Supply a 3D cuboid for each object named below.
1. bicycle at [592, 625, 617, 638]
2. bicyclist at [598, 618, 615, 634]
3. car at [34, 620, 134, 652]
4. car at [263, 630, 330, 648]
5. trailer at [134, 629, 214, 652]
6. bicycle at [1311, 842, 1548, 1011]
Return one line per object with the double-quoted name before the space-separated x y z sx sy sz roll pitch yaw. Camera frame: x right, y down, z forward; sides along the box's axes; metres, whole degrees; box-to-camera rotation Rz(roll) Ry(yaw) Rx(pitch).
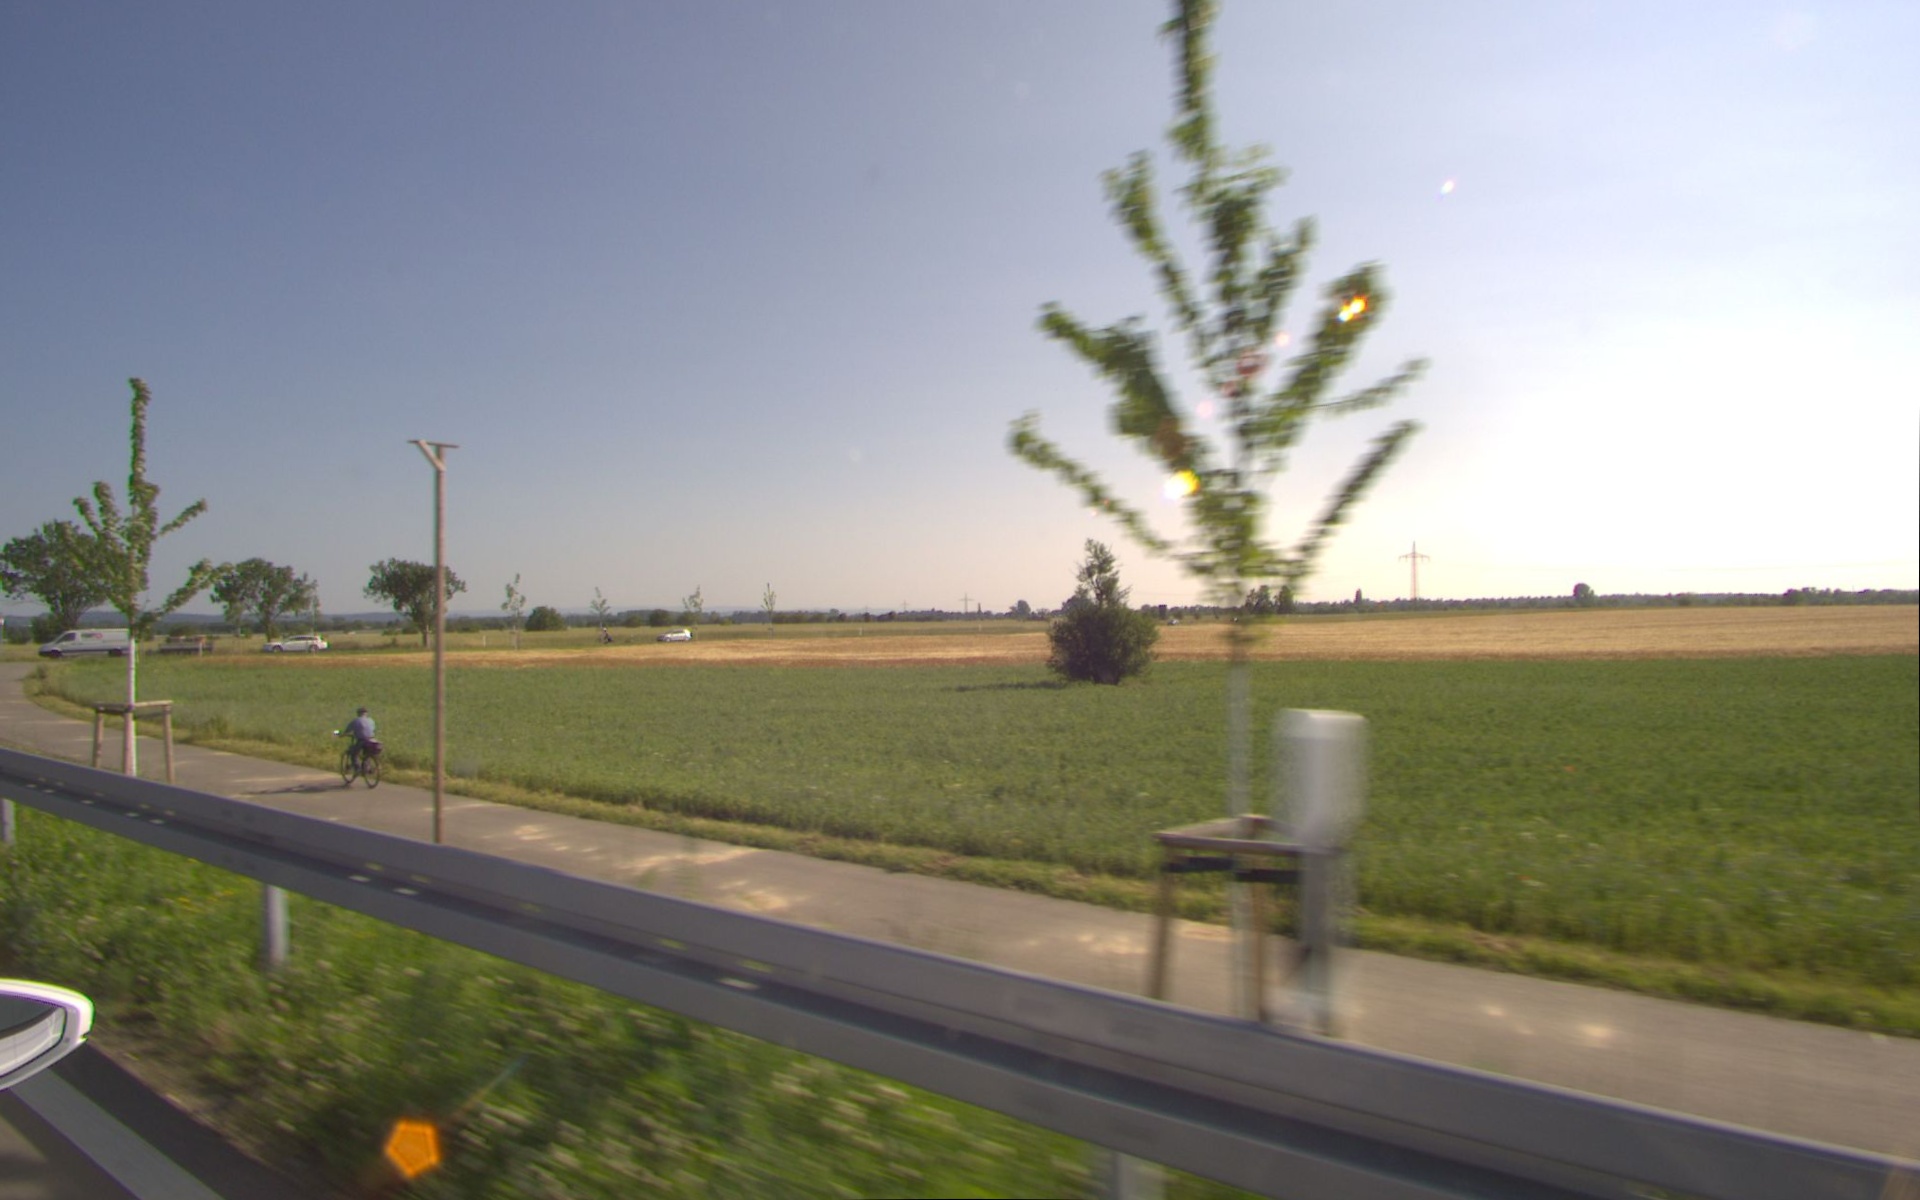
"bicycle" -35.465 3.156 99.952 2.140 1.201 0.882 1 -3 -41
"bicyclist" -35.348 2.579 100.007 1.269 1.622 1.155 1 -1 -41
"car" -70.383 2.922 80.605 5.909 2.523 1.985 2 -3 -39
"car" -59.532 3.507 89.904 4.834 1.528 1.983 2 -4 -42
"trailer" -66.001 3.384 84.137 5.217 1.775 1.939 0 -2 -39
"bicycle" 4.323 2.953 9.278 1.903 1.047 0.755 -1 -1 35
